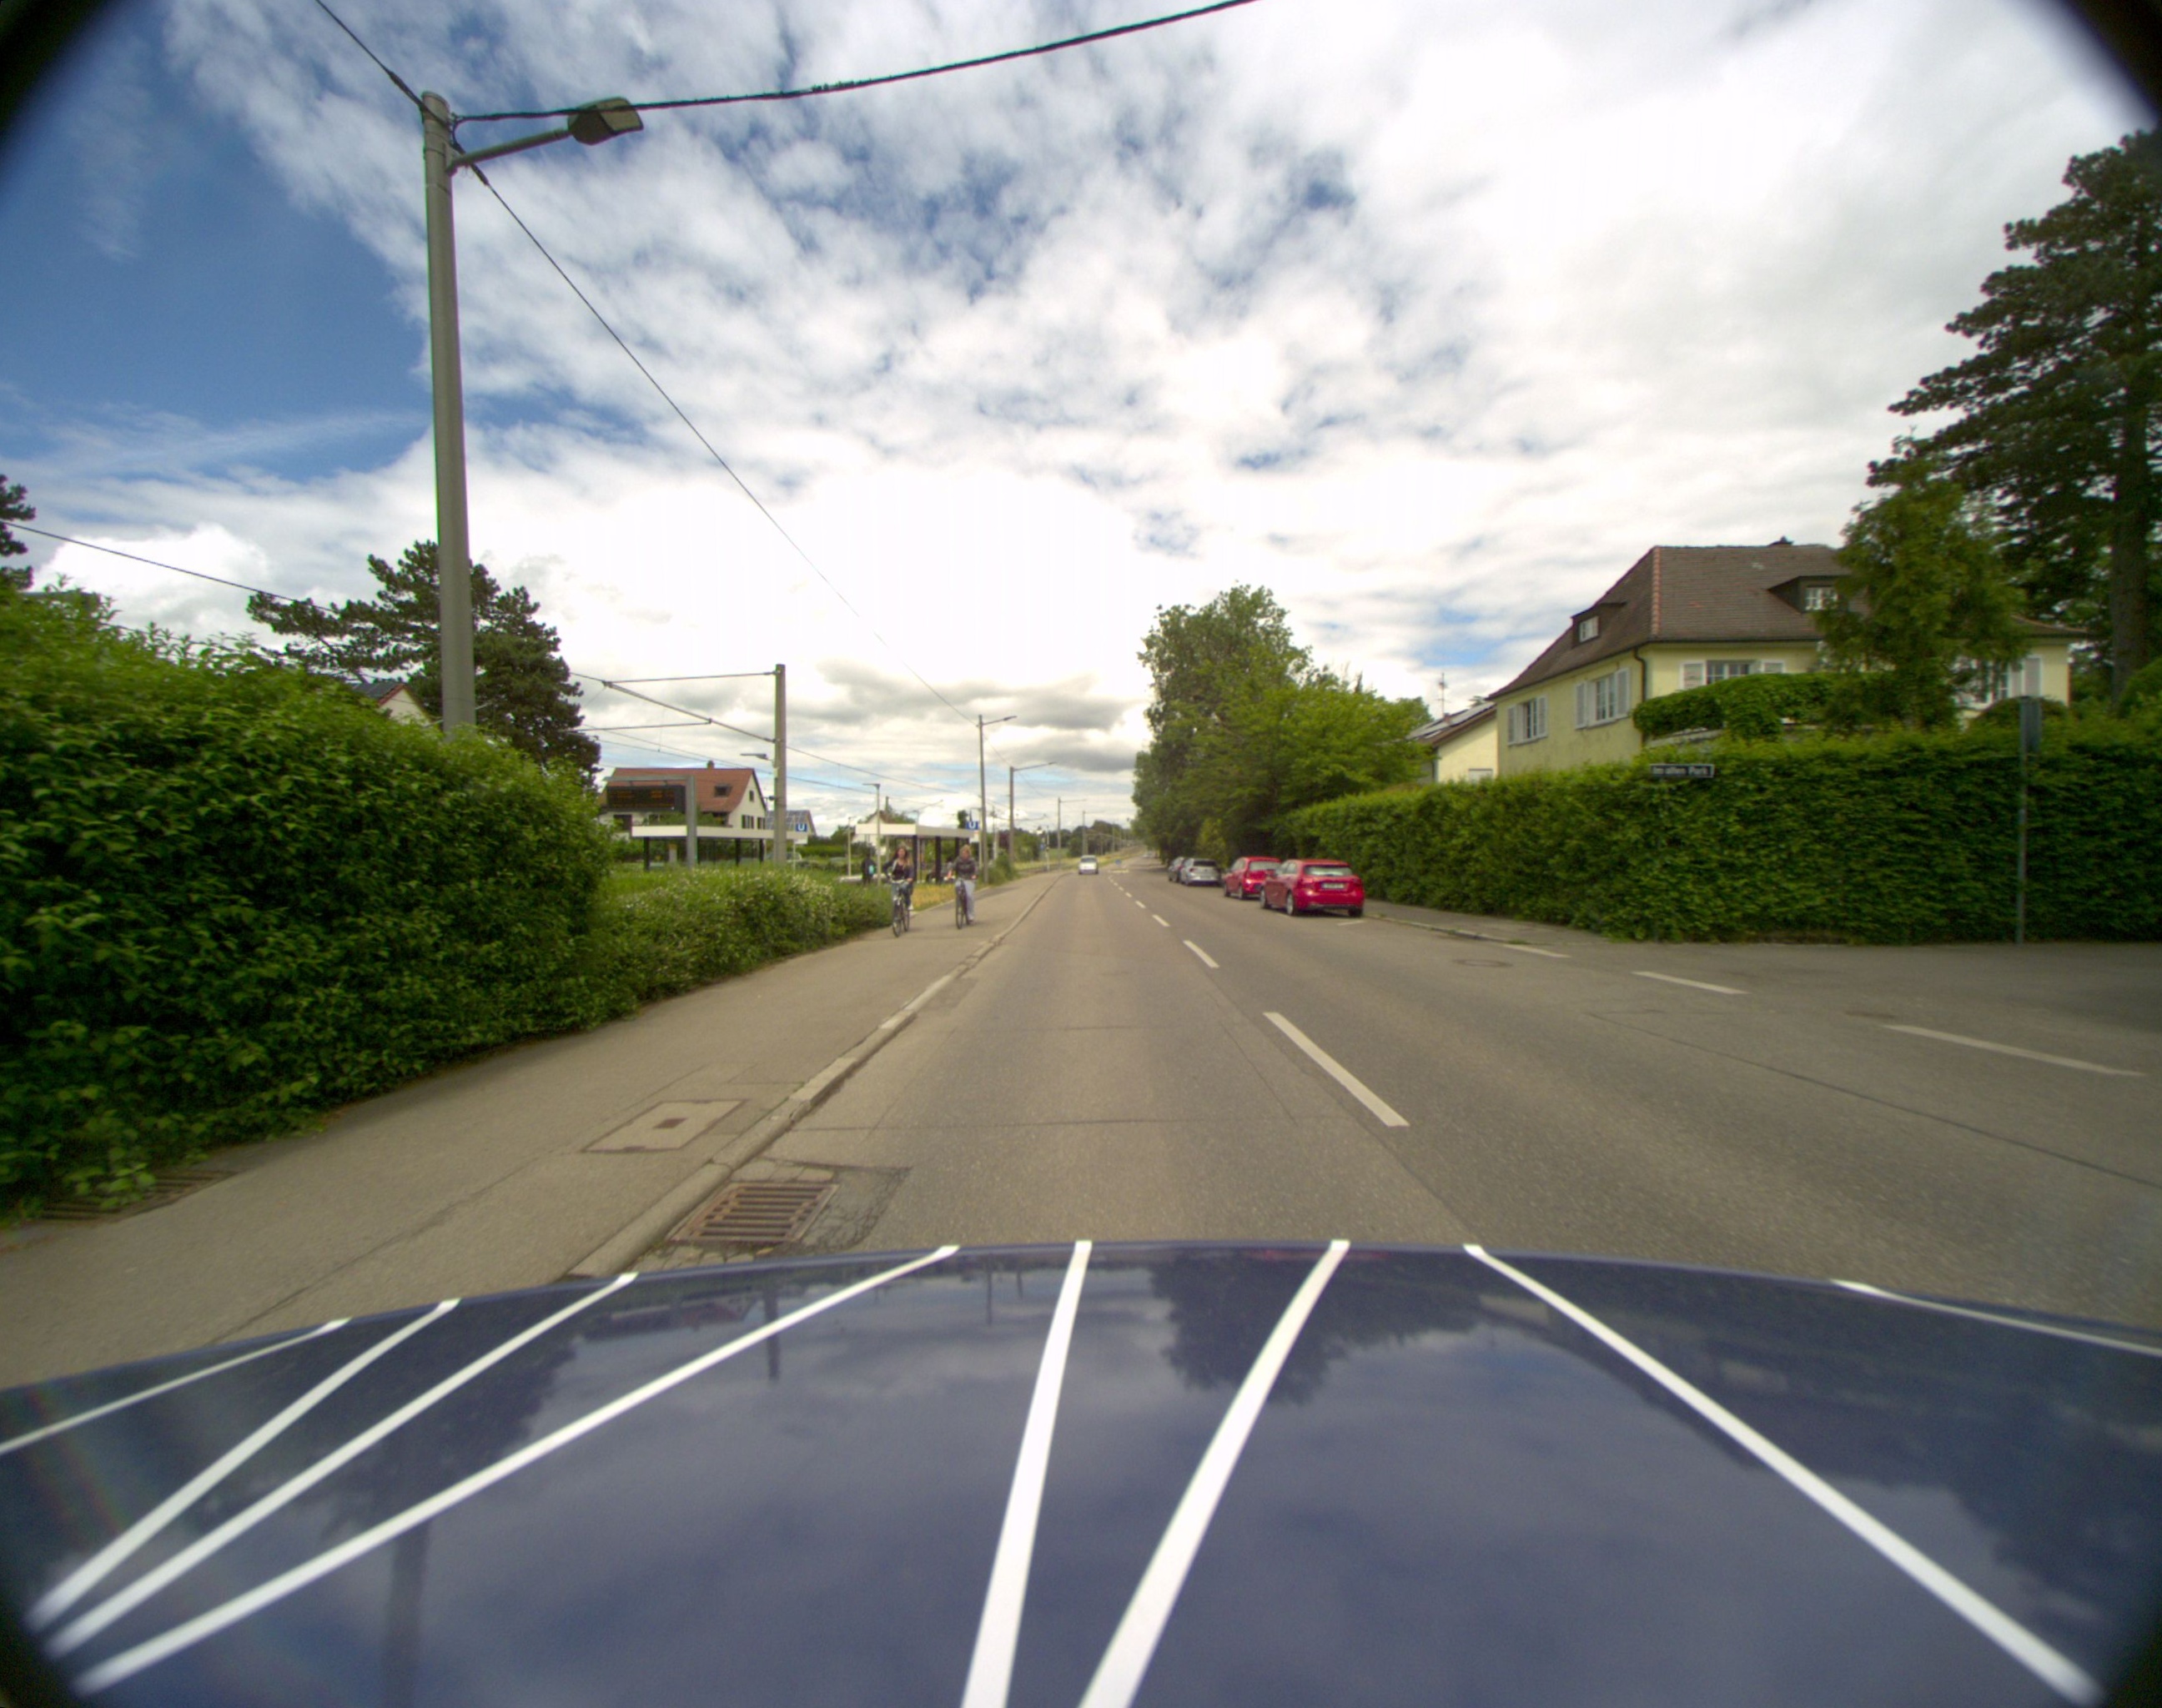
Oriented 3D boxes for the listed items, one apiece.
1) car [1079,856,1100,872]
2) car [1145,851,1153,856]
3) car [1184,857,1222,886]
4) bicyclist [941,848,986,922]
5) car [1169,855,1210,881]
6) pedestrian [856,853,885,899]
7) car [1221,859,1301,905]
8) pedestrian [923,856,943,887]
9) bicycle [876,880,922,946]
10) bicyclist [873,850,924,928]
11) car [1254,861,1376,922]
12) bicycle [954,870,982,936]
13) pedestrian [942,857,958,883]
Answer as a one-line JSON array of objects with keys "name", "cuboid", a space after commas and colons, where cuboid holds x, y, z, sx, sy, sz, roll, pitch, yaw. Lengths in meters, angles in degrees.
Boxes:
[{"name": "car", "cuboid": [0.696, 0.846, 66.610, 1.666, 1.394, 3.899, -1, 0, -1]}, {"name": "car", "cuboid": [21.792, -0.176, 243.303, 1.998, 1.739, 4.000, 0, 0, 1]}, {"name": "car", "cuboid": [6.305, 0.882, 39.519, 1.676, 1.363, 3.607, 1, 0, 5]}, {"name": "bicyclist", "cuboid": [-2.564, 0.656, 16.620, 0.827, 1.529, 0.861, -2, 1, -3]}, {"name": "car", "cuboid": [6.384, 0.799, 45.060, 1.819, 1.394, 3.899, -1, 0, -1]}, {"name": "pedestrian", "cuboid": [-7.602, 0.775, 27.433, 0.730, 1.608, 0.704, -3, 1, -34]}, {"name": "car", "cuboid": [6.254, 0.926, 26.810, 1.853, 1.442, 3.748, -1, 0, -2]}, {"name": "pedestrian", "cuboid": [-6.932, 0.796, 35.523, 0.720, 1.412, 0.643, -2, 1, 3]}, {"name": "bicycle", "cuboid": [-3.666, 1.157, 15.444, 0.451, 1.143, 2.207, -1, 1, -2]}, {"name": "bicyclist", "cuboid": [-3.707, 0.699, 15.485, 0.826, 1.529, 0.861, -1, 0, -2]}, {"name": "car", "cuboid": [6.021, 0.909, 20.097, 1.971, 1.394, 4.065, -1, 0, 0]}, {"name": "bicycle", "cuboid": [-2.475, 1.039, 16.814, 0.451, 1.278, 2.206, -2, 1, -5]}, {"name": "pedestrian", "cuboid": [-6.486, 0.791, 37.651, 0.588, 1.272, 0.582, -2, 1, 3]}]
